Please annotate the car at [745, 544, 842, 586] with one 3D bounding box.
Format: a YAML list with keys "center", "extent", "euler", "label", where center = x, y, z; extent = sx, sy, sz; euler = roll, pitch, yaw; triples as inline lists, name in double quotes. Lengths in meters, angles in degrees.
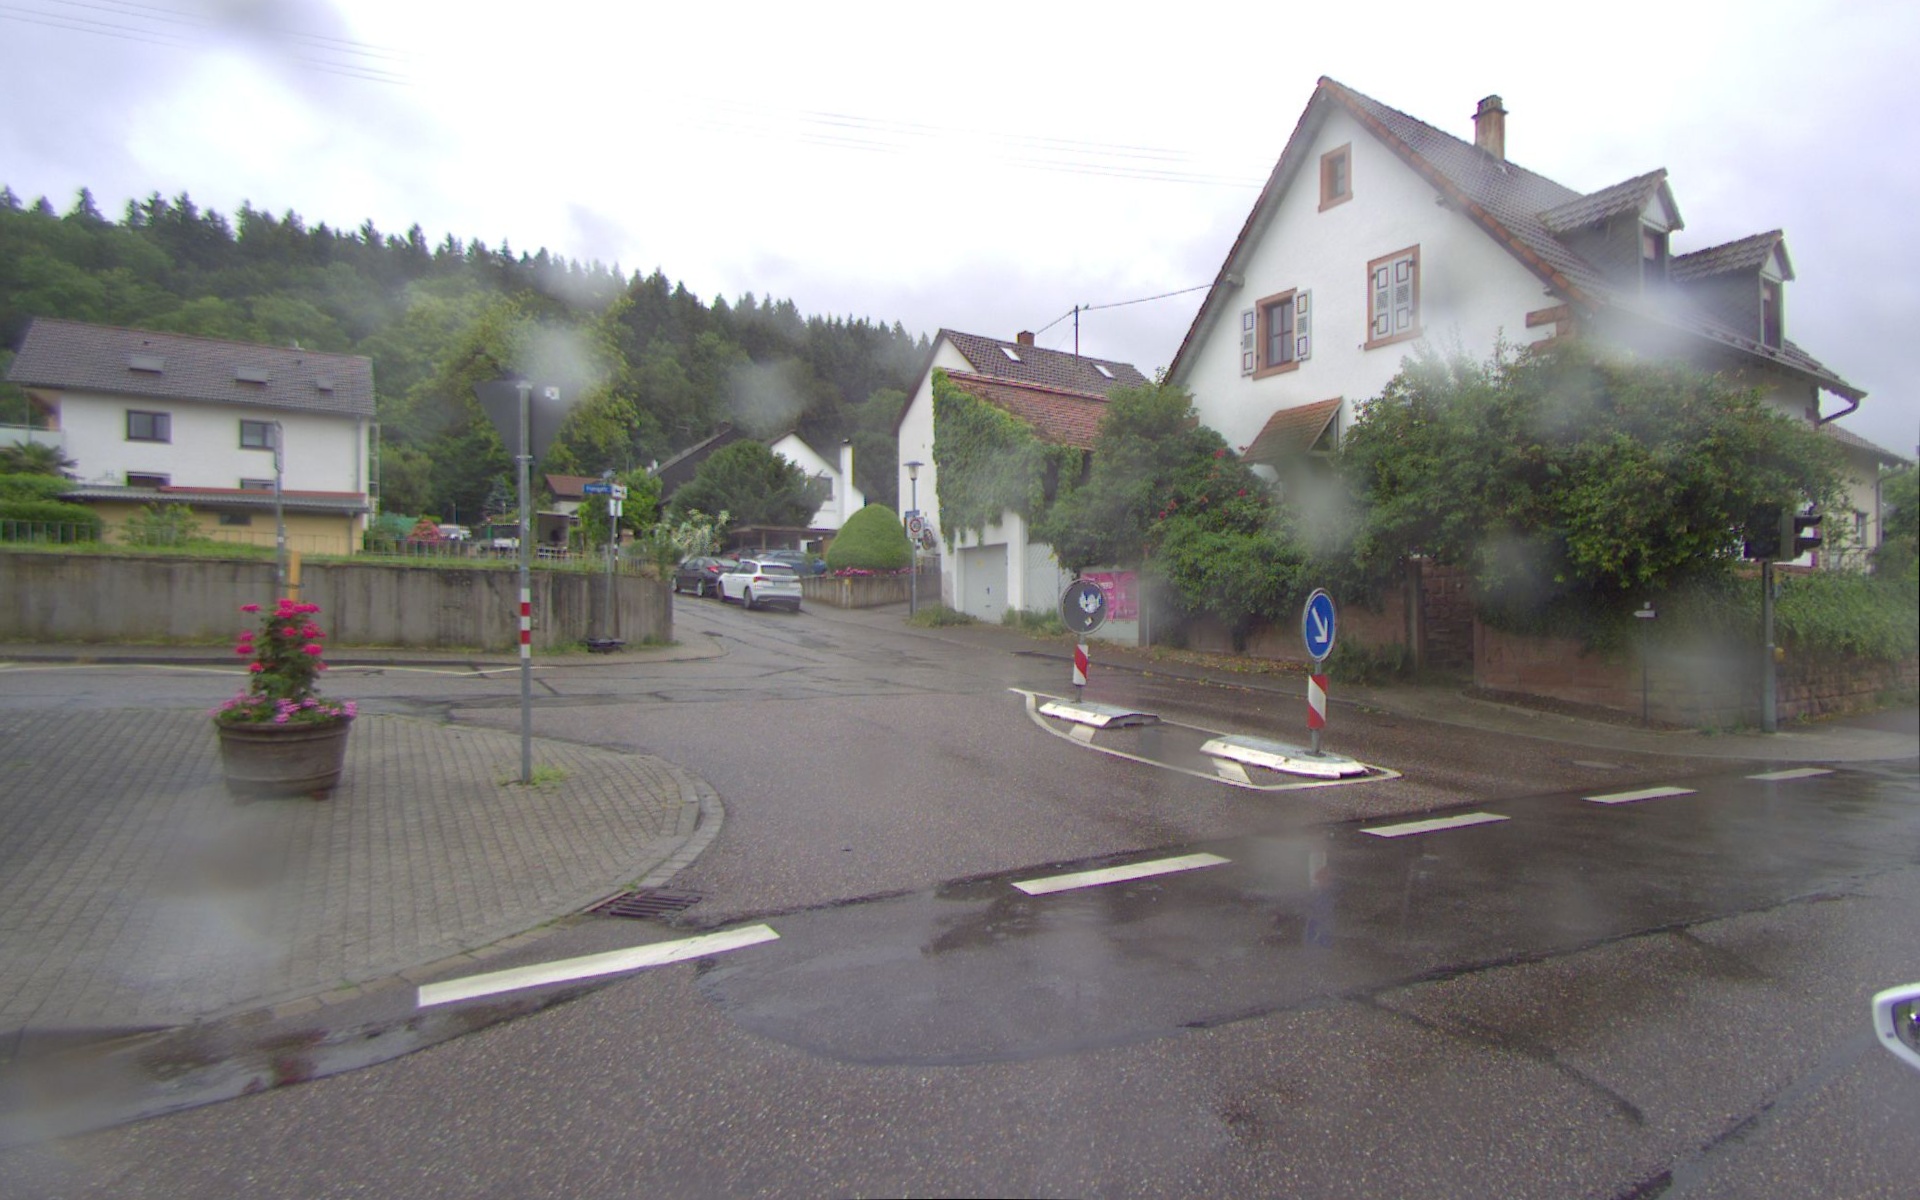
- center: [-7.470, -1.564, 45.110]
  extent: [3.849, 1.534, 1.883]
  euler: [2, 5, -32]
  label: "car"

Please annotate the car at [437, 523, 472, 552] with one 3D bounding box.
- center: [-39.526, -4.880, 78.523]
  extent: [1.898, 2.040, 3.960]
  euler: [2, 2, -35]
  label: "car"

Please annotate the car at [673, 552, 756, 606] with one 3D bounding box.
- center: [-9.050, -0.802, 36.828]
  extent: [1.879, 1.535, 3.858]
  euler: [2, 6, -31]
  label: "car"

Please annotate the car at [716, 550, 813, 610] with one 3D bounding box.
- center: [-6.475, -0.674, 32.938]
  extent: [1.879, 1.535, 3.858]
  euler: [2, 6, -31]
  label: "car"

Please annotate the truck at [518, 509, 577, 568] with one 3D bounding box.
- center: [-25.846, -3.777, 62.768]
  extent: [2.425, 3.397, 6.601]
  euler: [1, 2, -31]
  label: "truck"

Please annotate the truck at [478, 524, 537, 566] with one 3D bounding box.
- center: [-25.864, -3.129, 57.318]
  extent: [2.275, 2.155, 6.026]
  euler: [1, 2, -32]
  label: "truck"
